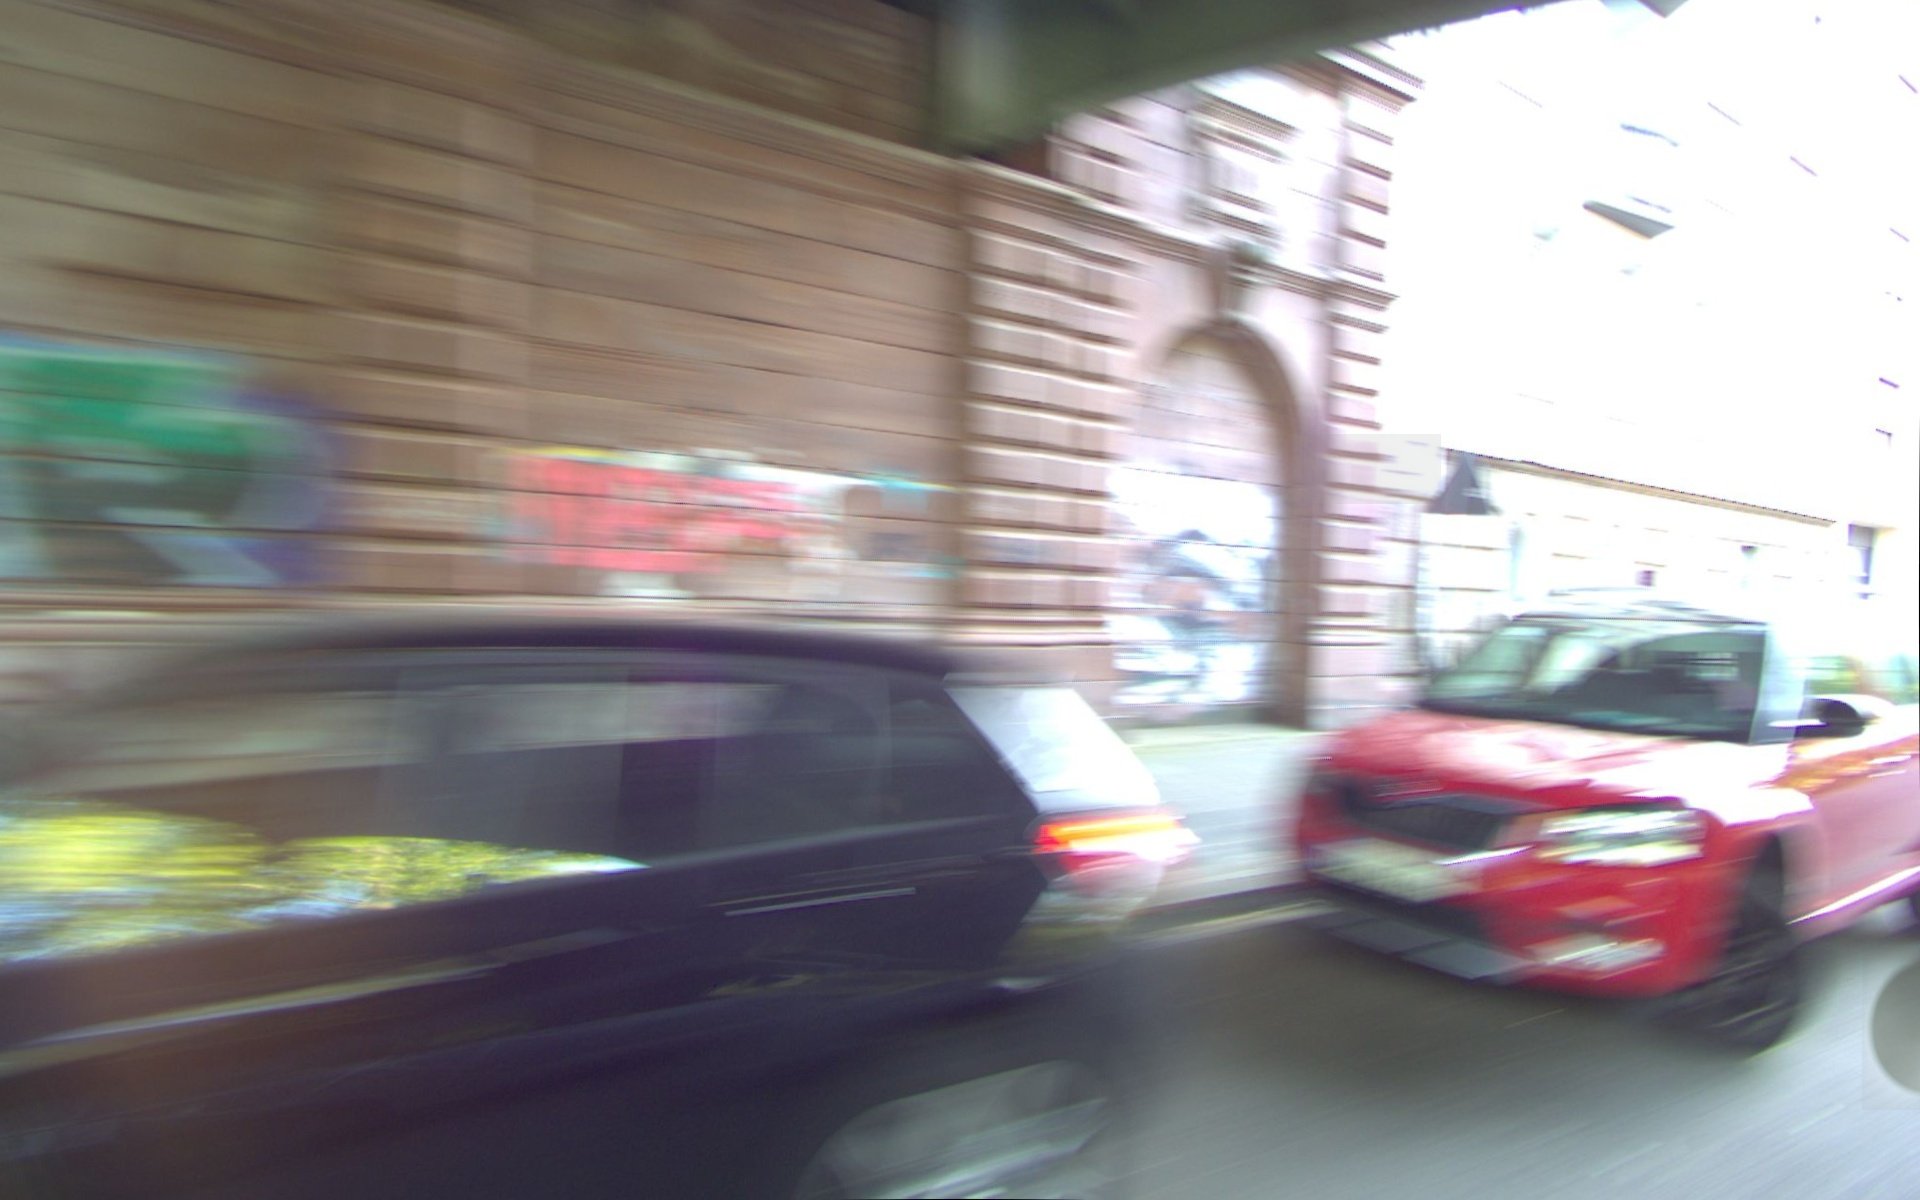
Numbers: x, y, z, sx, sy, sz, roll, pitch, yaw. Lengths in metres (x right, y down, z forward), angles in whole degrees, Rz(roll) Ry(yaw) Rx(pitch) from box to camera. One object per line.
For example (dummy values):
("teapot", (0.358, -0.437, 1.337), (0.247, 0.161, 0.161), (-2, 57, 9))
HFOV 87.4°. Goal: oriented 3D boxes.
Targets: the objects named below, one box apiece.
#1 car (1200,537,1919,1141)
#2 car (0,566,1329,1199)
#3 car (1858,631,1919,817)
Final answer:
("car", (3.304, 0.738, 4.765), (4.276, 1.730, 1.707), (2, 0, -33))
("car", (-1.272, 0.701, 2.112), (3.954, 1.483, 1.708), (2, 0, -31))
("car", (9.597, 1.078, 8.620), (3.954, 1.460, 1.680), (2, 1, -31))
